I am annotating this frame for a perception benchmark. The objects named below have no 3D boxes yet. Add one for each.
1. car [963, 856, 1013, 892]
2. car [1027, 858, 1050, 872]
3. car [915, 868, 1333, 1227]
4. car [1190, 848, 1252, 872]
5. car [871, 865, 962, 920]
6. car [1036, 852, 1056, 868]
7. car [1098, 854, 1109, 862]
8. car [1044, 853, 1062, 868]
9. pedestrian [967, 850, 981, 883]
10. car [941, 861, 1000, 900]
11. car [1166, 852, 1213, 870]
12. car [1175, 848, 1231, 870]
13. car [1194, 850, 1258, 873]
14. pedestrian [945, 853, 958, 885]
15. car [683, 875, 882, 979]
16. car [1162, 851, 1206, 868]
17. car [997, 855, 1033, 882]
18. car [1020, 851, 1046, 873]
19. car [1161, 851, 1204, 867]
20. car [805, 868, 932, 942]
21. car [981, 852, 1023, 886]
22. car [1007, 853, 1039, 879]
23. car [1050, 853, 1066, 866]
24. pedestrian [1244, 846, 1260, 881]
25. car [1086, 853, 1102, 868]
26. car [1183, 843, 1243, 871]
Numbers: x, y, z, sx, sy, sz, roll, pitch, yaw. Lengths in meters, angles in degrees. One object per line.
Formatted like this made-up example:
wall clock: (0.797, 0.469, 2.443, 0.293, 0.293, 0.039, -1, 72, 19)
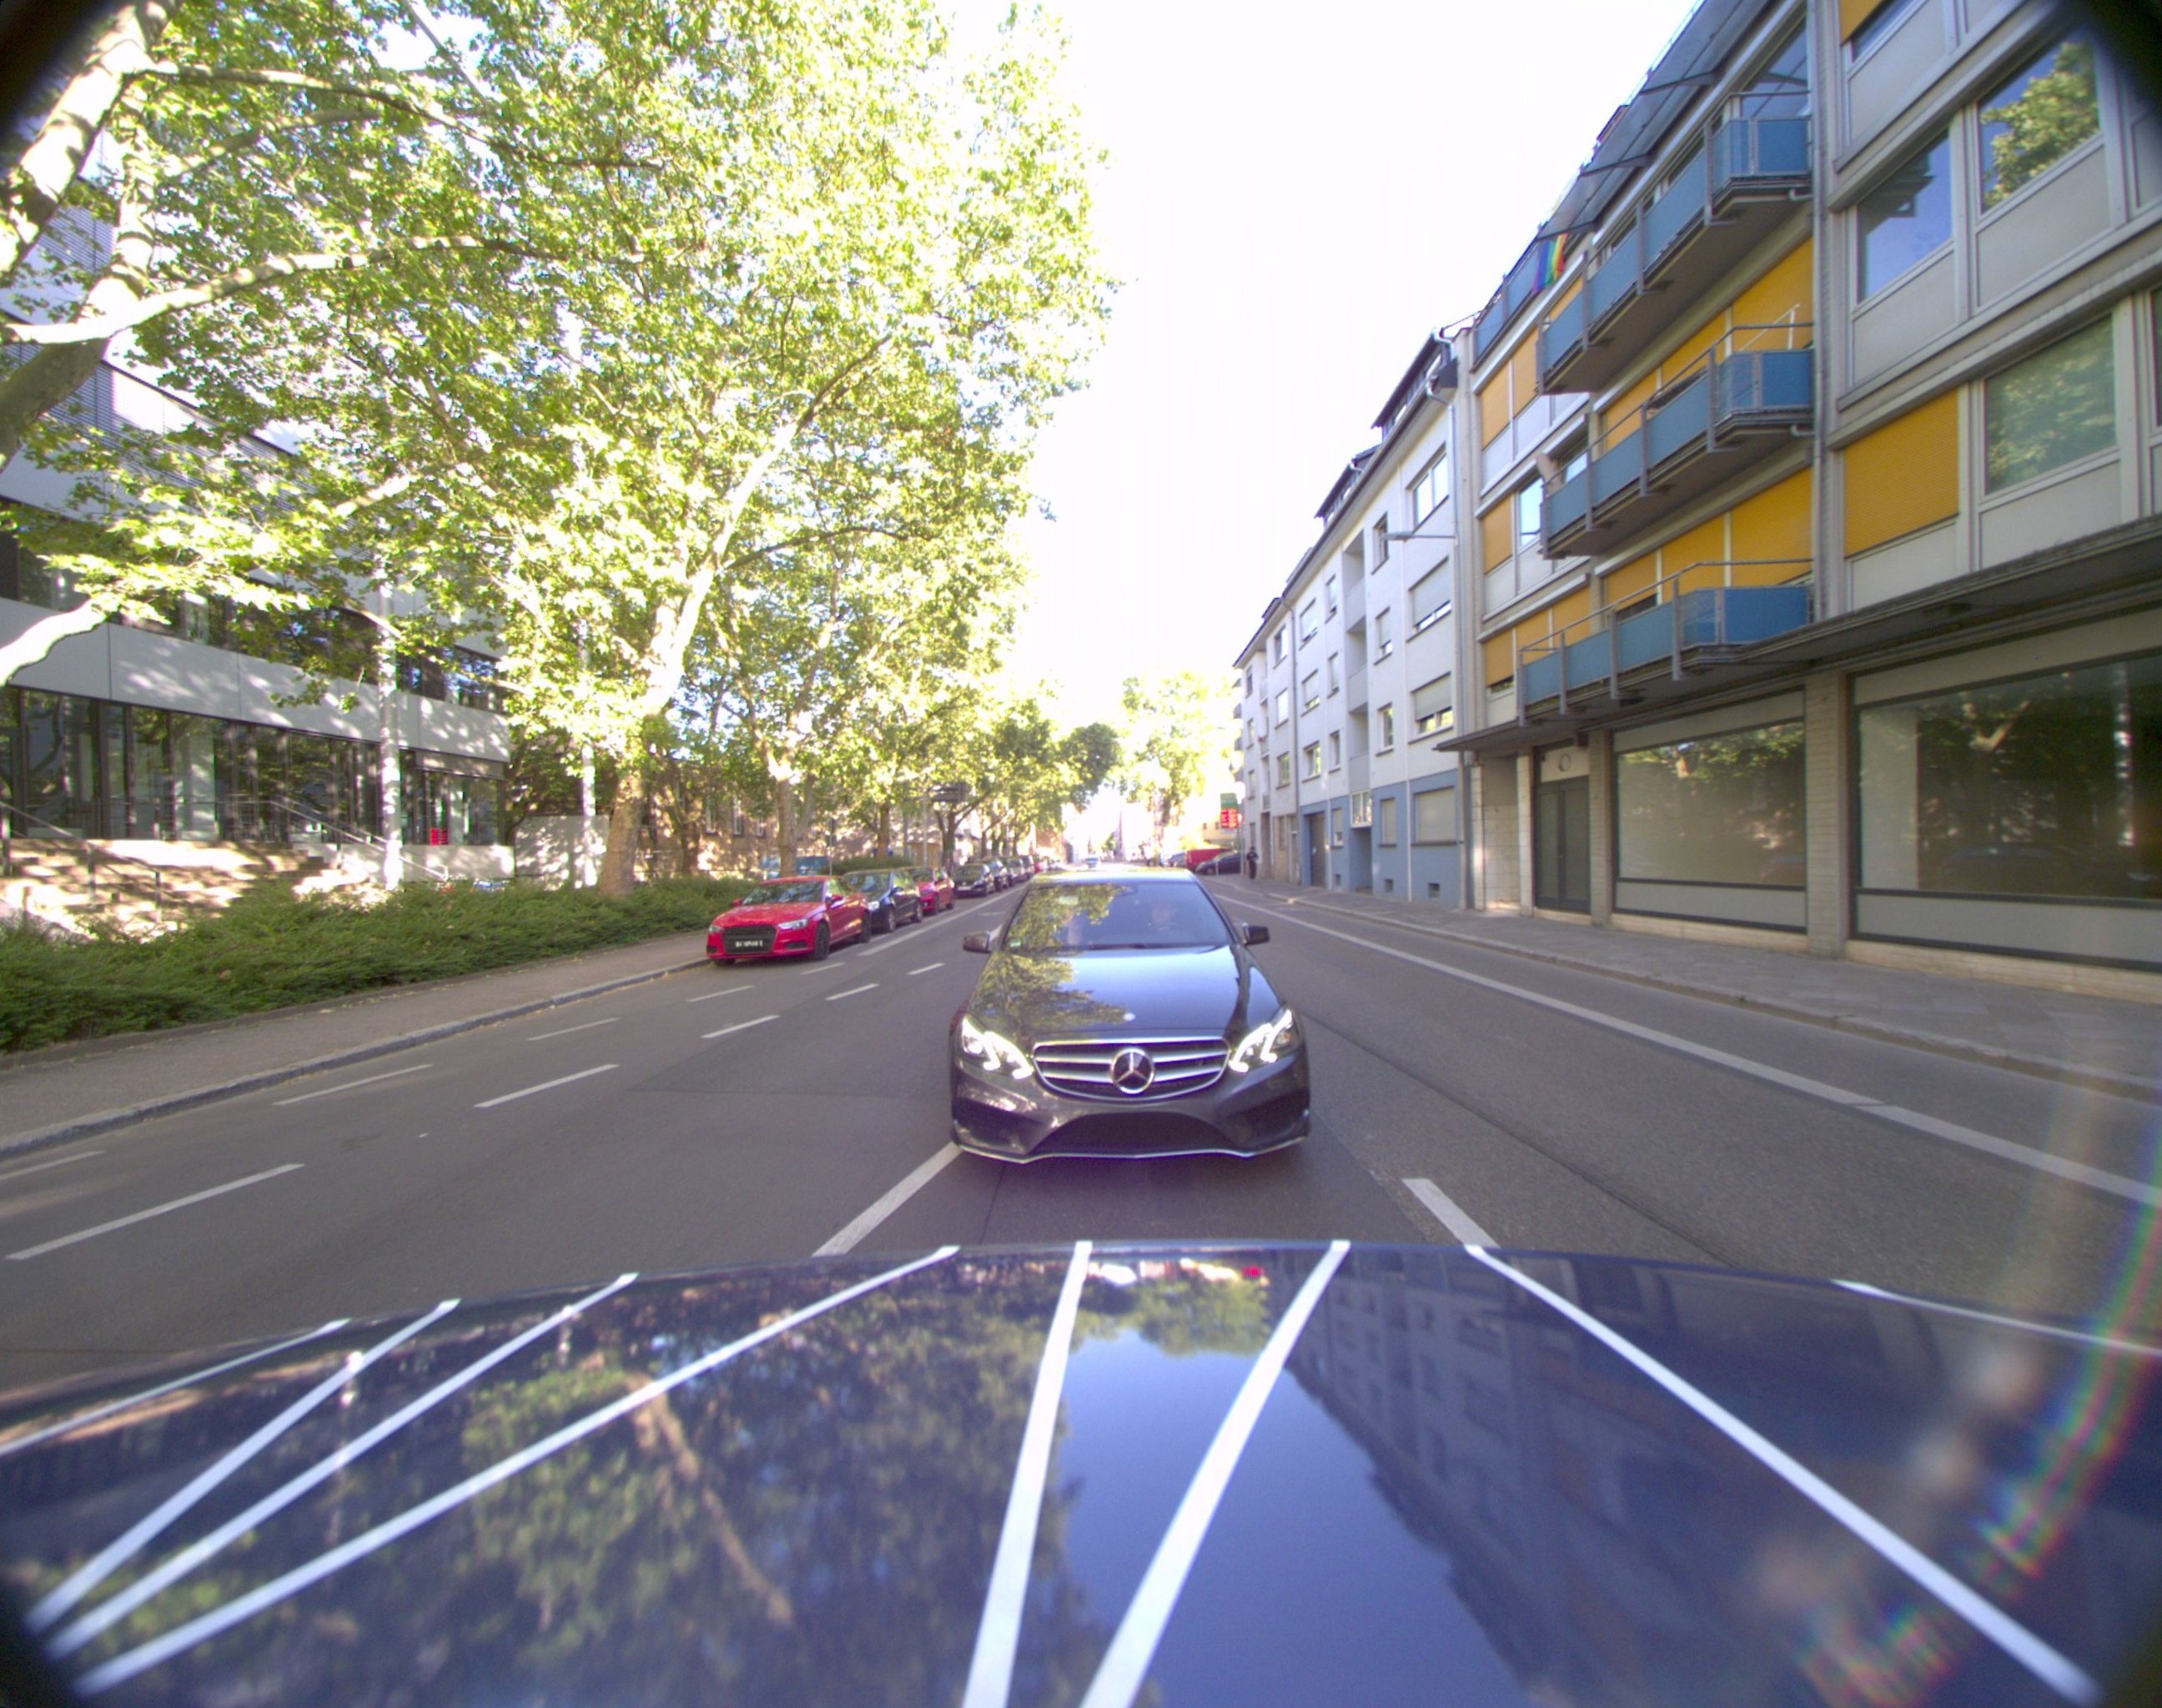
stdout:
car: (-4.600, 0.962, 38.075, 1.835, 1.596, 4.161, -2, 0, 1)
car: (-3.995, 1.023, 71.788, 1.835, 1.220, 4.259, -2, 0, 1)
car: (0.222, 0.917, 5.572, 1.849, 1.490, 4.302, -1, 0, 1)
car: (10.479, 0.454, 57.050, 4.255, 1.461, 1.653, -4, 0, 1)
car: (-5.046, 1.132, 23.841, 1.835, 1.459, 4.168, -2, 0, 1)
car: (-3.944, 0.664, 86.227, 1.835, 1.667, 4.259, -2, 0, 1)
car: (5.016, 0.849, 167.309, 1.997, 1.729, 4.002, -1, 0, 9)
car: (-3.417, 0.783, 92.843, 1.835, 1.667, 4.259, -2, 0, 1)
pedestrian: (-6.057, 0.717, 43.008, 0.660, 1.849, 0.641, -2, 1, 1)
car: (-4.749, 1.102, 33.177, 1.835, 1.459, 4.168, -2, 0, 1)
car: (10.428, 0.672, 73.193, 4.255, 1.461, 1.653, -4, 0, 1)
car: (10.047, 0.407, 62.712, 4.255, 1.461, 1.653, -4, 0, 1)
car: (10.396, 0.518, 54.749, 4.255, 1.392, 1.653, -4, 0, 1)
pedestrian: (-7.379, 0.865, 43.314, 0.601, 1.785, 0.593, -2, 1, 0)
car: (-5.133, 1.176, 13.770, 1.835, 1.396, 4.247, -2, 0, 1)
car: (10.598, 0.539, 78.651, 4.255, 1.461, 1.653, -4, 0, 1)
car: (-4.342, 0.944, 50.608, 1.835, 1.604, 4.259, -2, 0, 1)
car: (-4.150, 0.679, 66.348, 1.835, 1.839, 4.259, -2, 0, 1)
car: (10.769, 0.513, 80.616, 4.255, 1.461, 1.653, -4, 0, 1)
car: (-5.044, 1.148, 18.631, 1.835, 1.438, 4.168, -2, 0, 1)
car: (-4.514, 0.820, 44.115, 1.835, 1.787, 4.463, -2, 0, 1)
car: (-4.184, 0.809, 55.640, 1.835, 1.750, 4.259, -2, 0, 1)
car: (-3.053, 0.681, 102.949, 1.835, 1.667, 4.259, -2, 0, 1)
pedestrian: (8.469, 0.454, 37.543, 0.612, 1.685, 0.655, -2, 1, 1)
car: (1.408, 0.705, 82.471, 1.726, 1.530, 4.000, -1, 0, 1)
car: (10.411, 0.221, 60.130, 4.255, 1.907, 1.818, -4, 0, 0)
